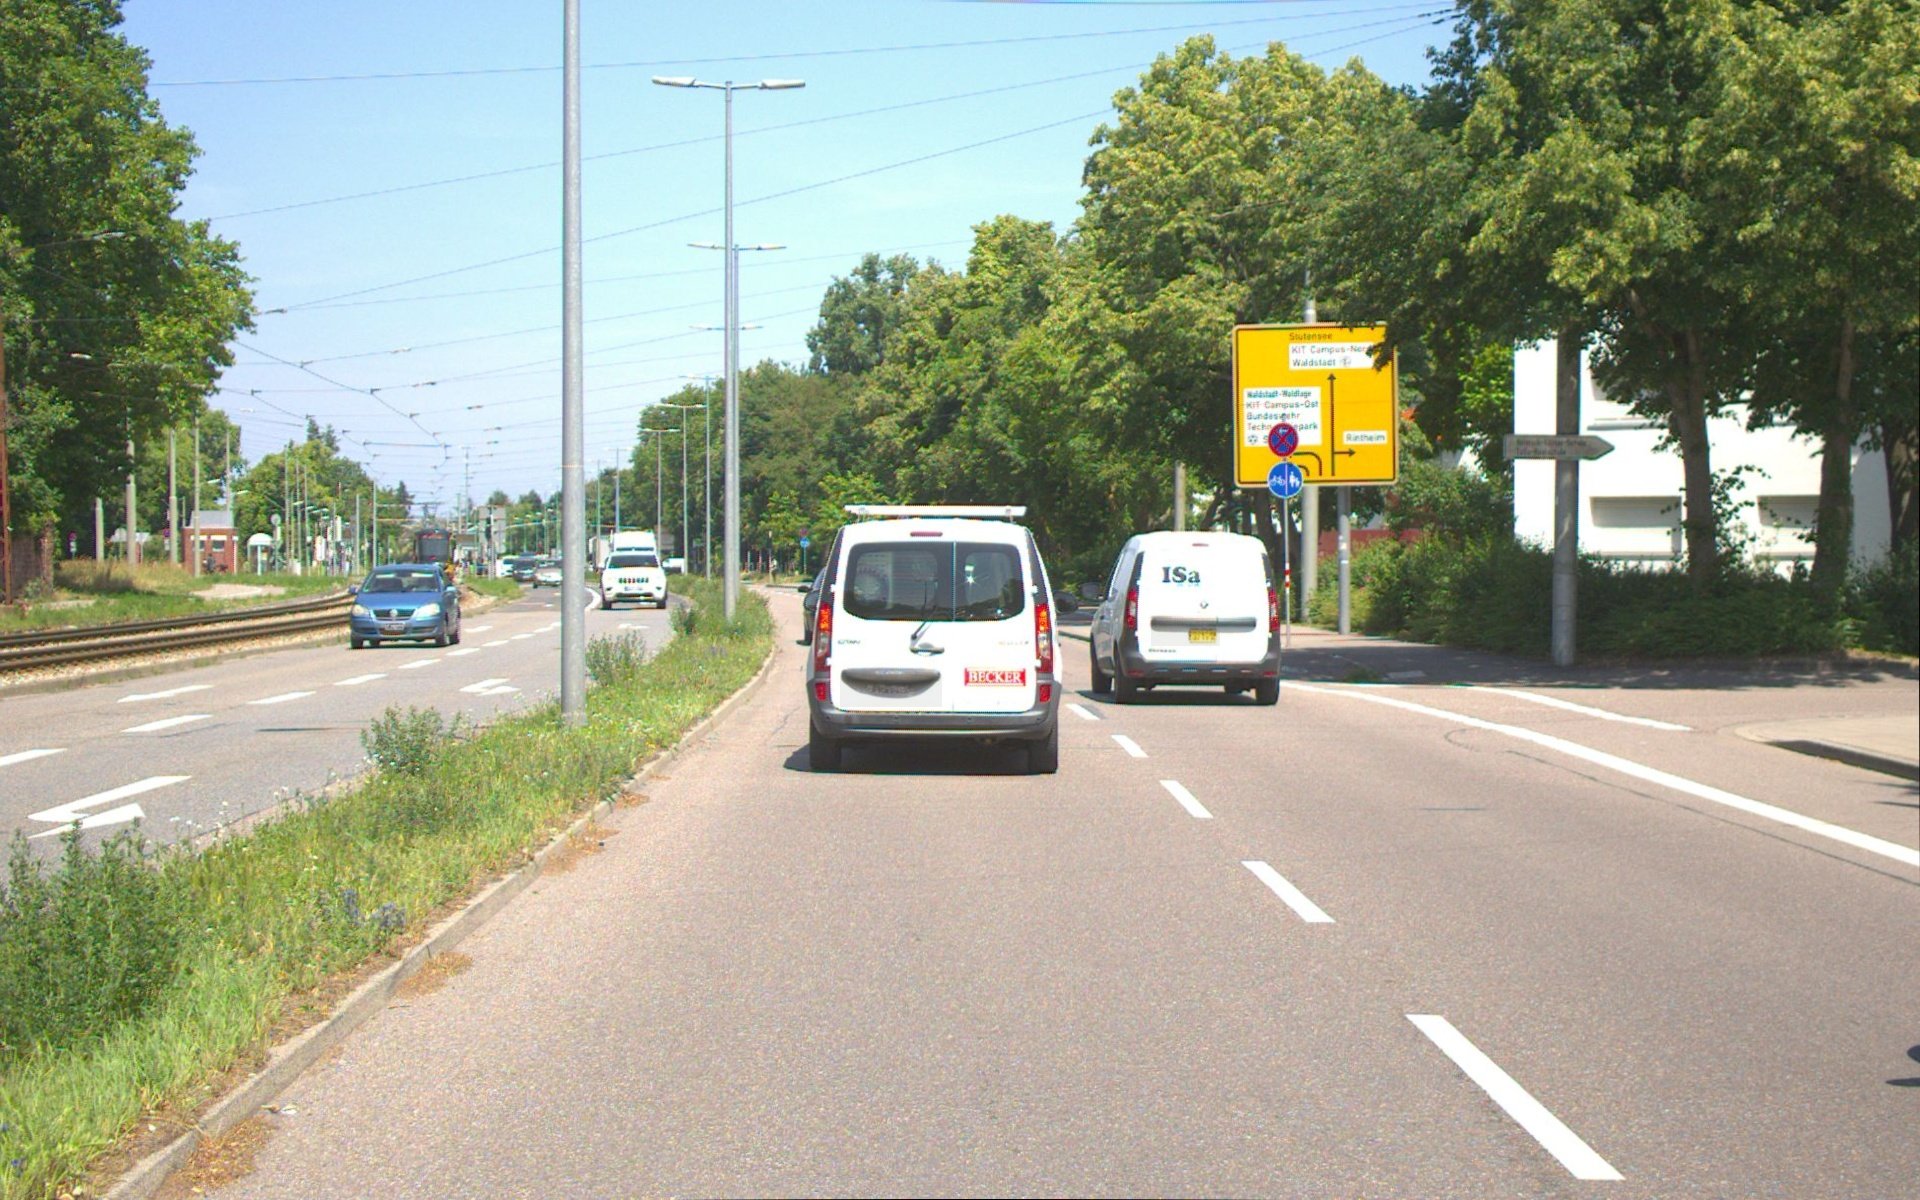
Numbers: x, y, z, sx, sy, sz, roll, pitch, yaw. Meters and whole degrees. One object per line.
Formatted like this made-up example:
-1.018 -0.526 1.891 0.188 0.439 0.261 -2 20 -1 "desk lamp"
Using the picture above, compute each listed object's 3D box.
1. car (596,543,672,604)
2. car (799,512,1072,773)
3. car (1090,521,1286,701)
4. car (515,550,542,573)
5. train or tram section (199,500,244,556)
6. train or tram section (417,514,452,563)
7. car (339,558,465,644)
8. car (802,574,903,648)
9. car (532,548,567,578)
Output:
-9.832 -0.814 103.850 1.993 1.809 4.000 0 1 -1 "car"
-0.165 0.250 25.529 1.821 1.733 4.396 1 1 0 "car"
2.398 0.086 36.971 1.727 1.782 4.065 2 1 -1 "car"
-30.230 -2.717 240.866 1.746 1.562 4.001 2 0 -5 "car"
-48.760 -4.685 227.215 1.993 3.511 16.171 2 1 -9 "train or tram section"
-34.893 -4.066 227.986 1.993 3.076 16.171 2 1 -9 "train or tram section"
-9.745 -0.001 60.275 1.697 1.434 4.000 -1 1 -2 "car"
-1.872 0.172 60.668 1.692 1.211 3.589 2 1 -1 "car"
-22.305 -2.006 187.071 1.746 1.562 4.001 2 0 -5 "car"
